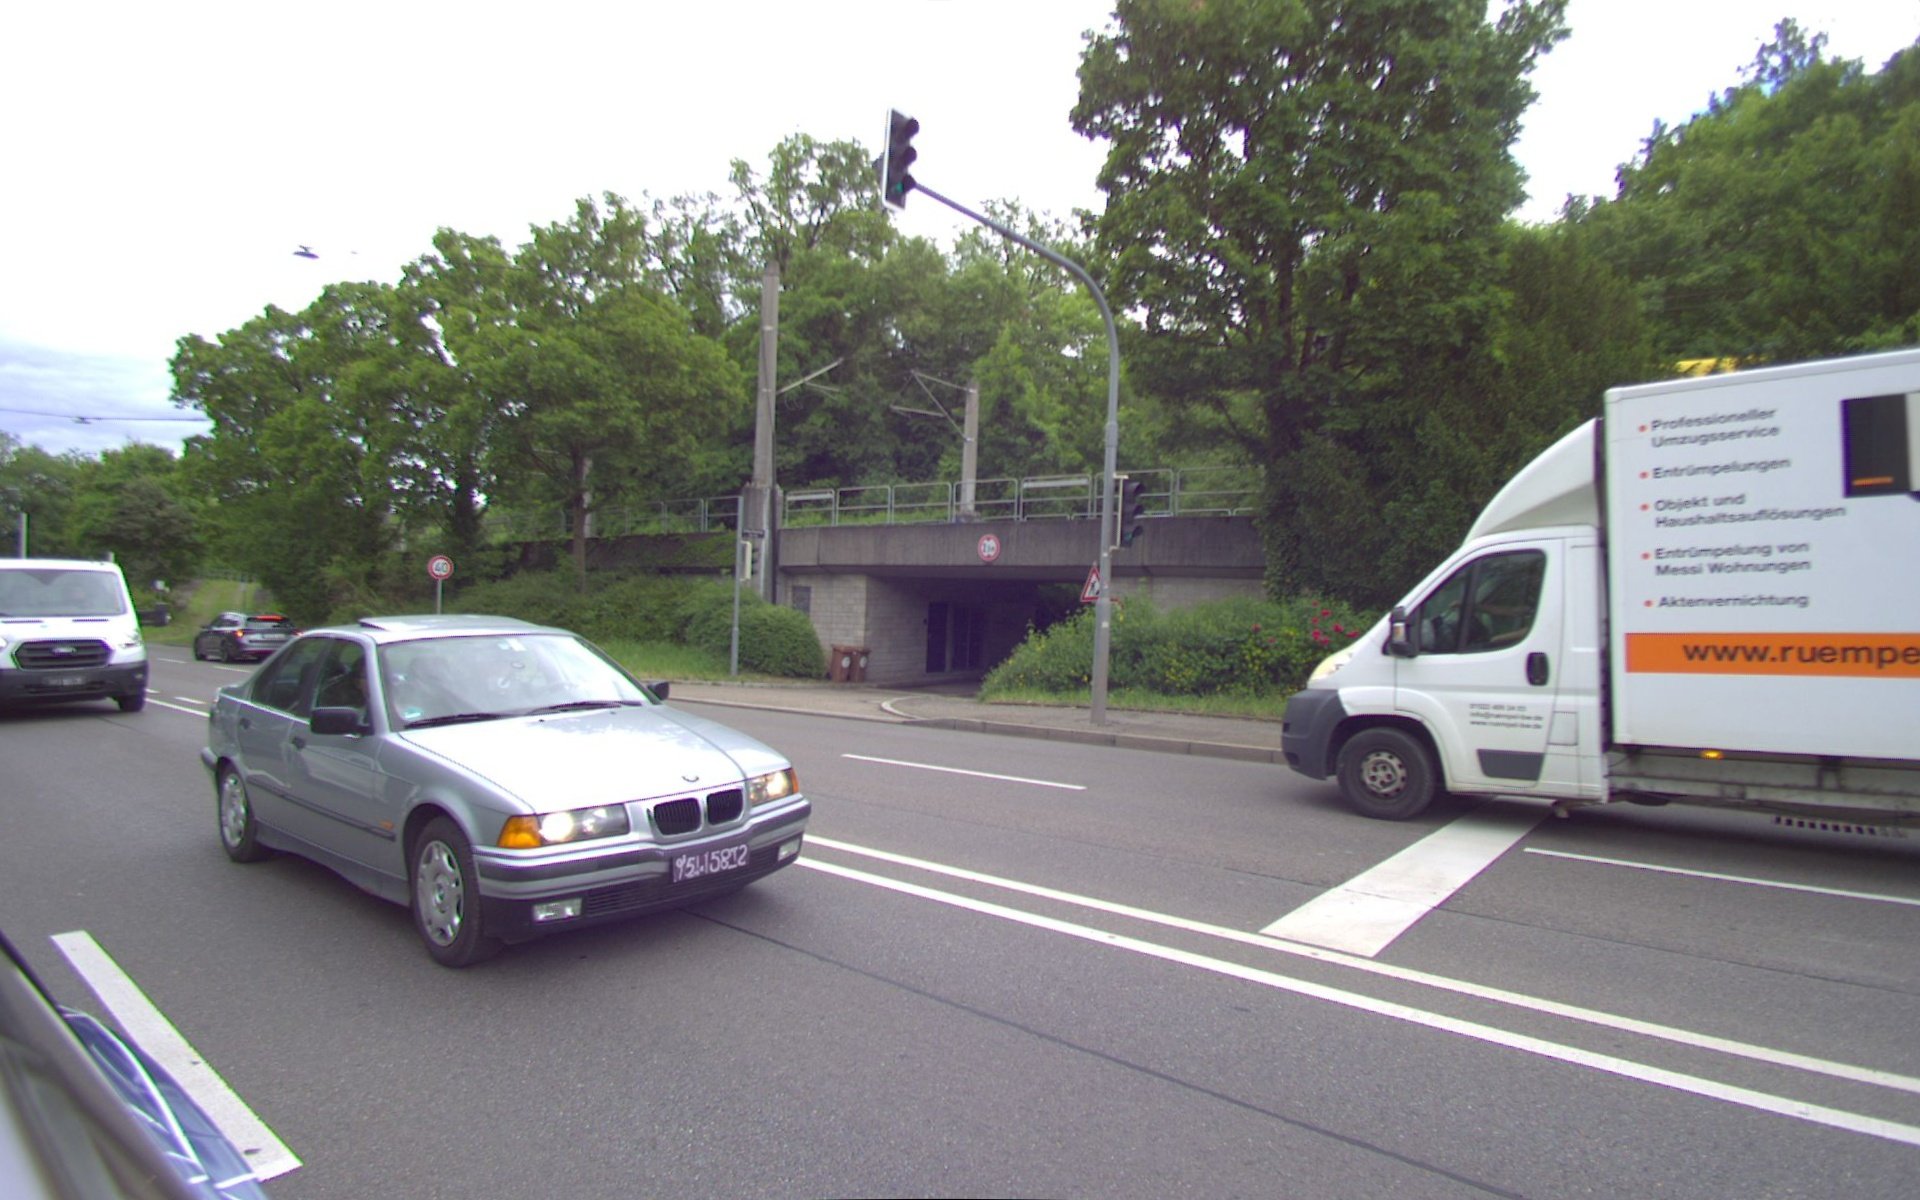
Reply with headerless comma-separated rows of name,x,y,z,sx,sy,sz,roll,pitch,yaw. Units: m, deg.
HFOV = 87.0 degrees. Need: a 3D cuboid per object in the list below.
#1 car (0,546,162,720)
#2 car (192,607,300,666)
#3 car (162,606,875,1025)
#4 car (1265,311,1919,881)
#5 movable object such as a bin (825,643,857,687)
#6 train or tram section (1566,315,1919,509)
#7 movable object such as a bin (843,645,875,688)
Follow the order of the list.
car,-14.116,0.424,14.964,6.662,2.142,2.225,0,0,39
car,-20.217,0.985,28.599,3.748,1.552,1.656,0,-1,41
car,-2.715,0.750,5.570,4.611,1.404,1.735,0,-1,40
car,5.849,-0.023,6.369,7.228,3.079,2.247,0,0,39
movable object such as a bin,-3.020,1.642,25.647,0.563,1.107,0.537,-1,-3,39
train or tram section,16.431,-3.511,19.379,8.137,3.066,2.038,1,1,37
movable object such as a bin,-2.599,1.701,26.058,0.563,1.085,0.537,-1,-3,39
